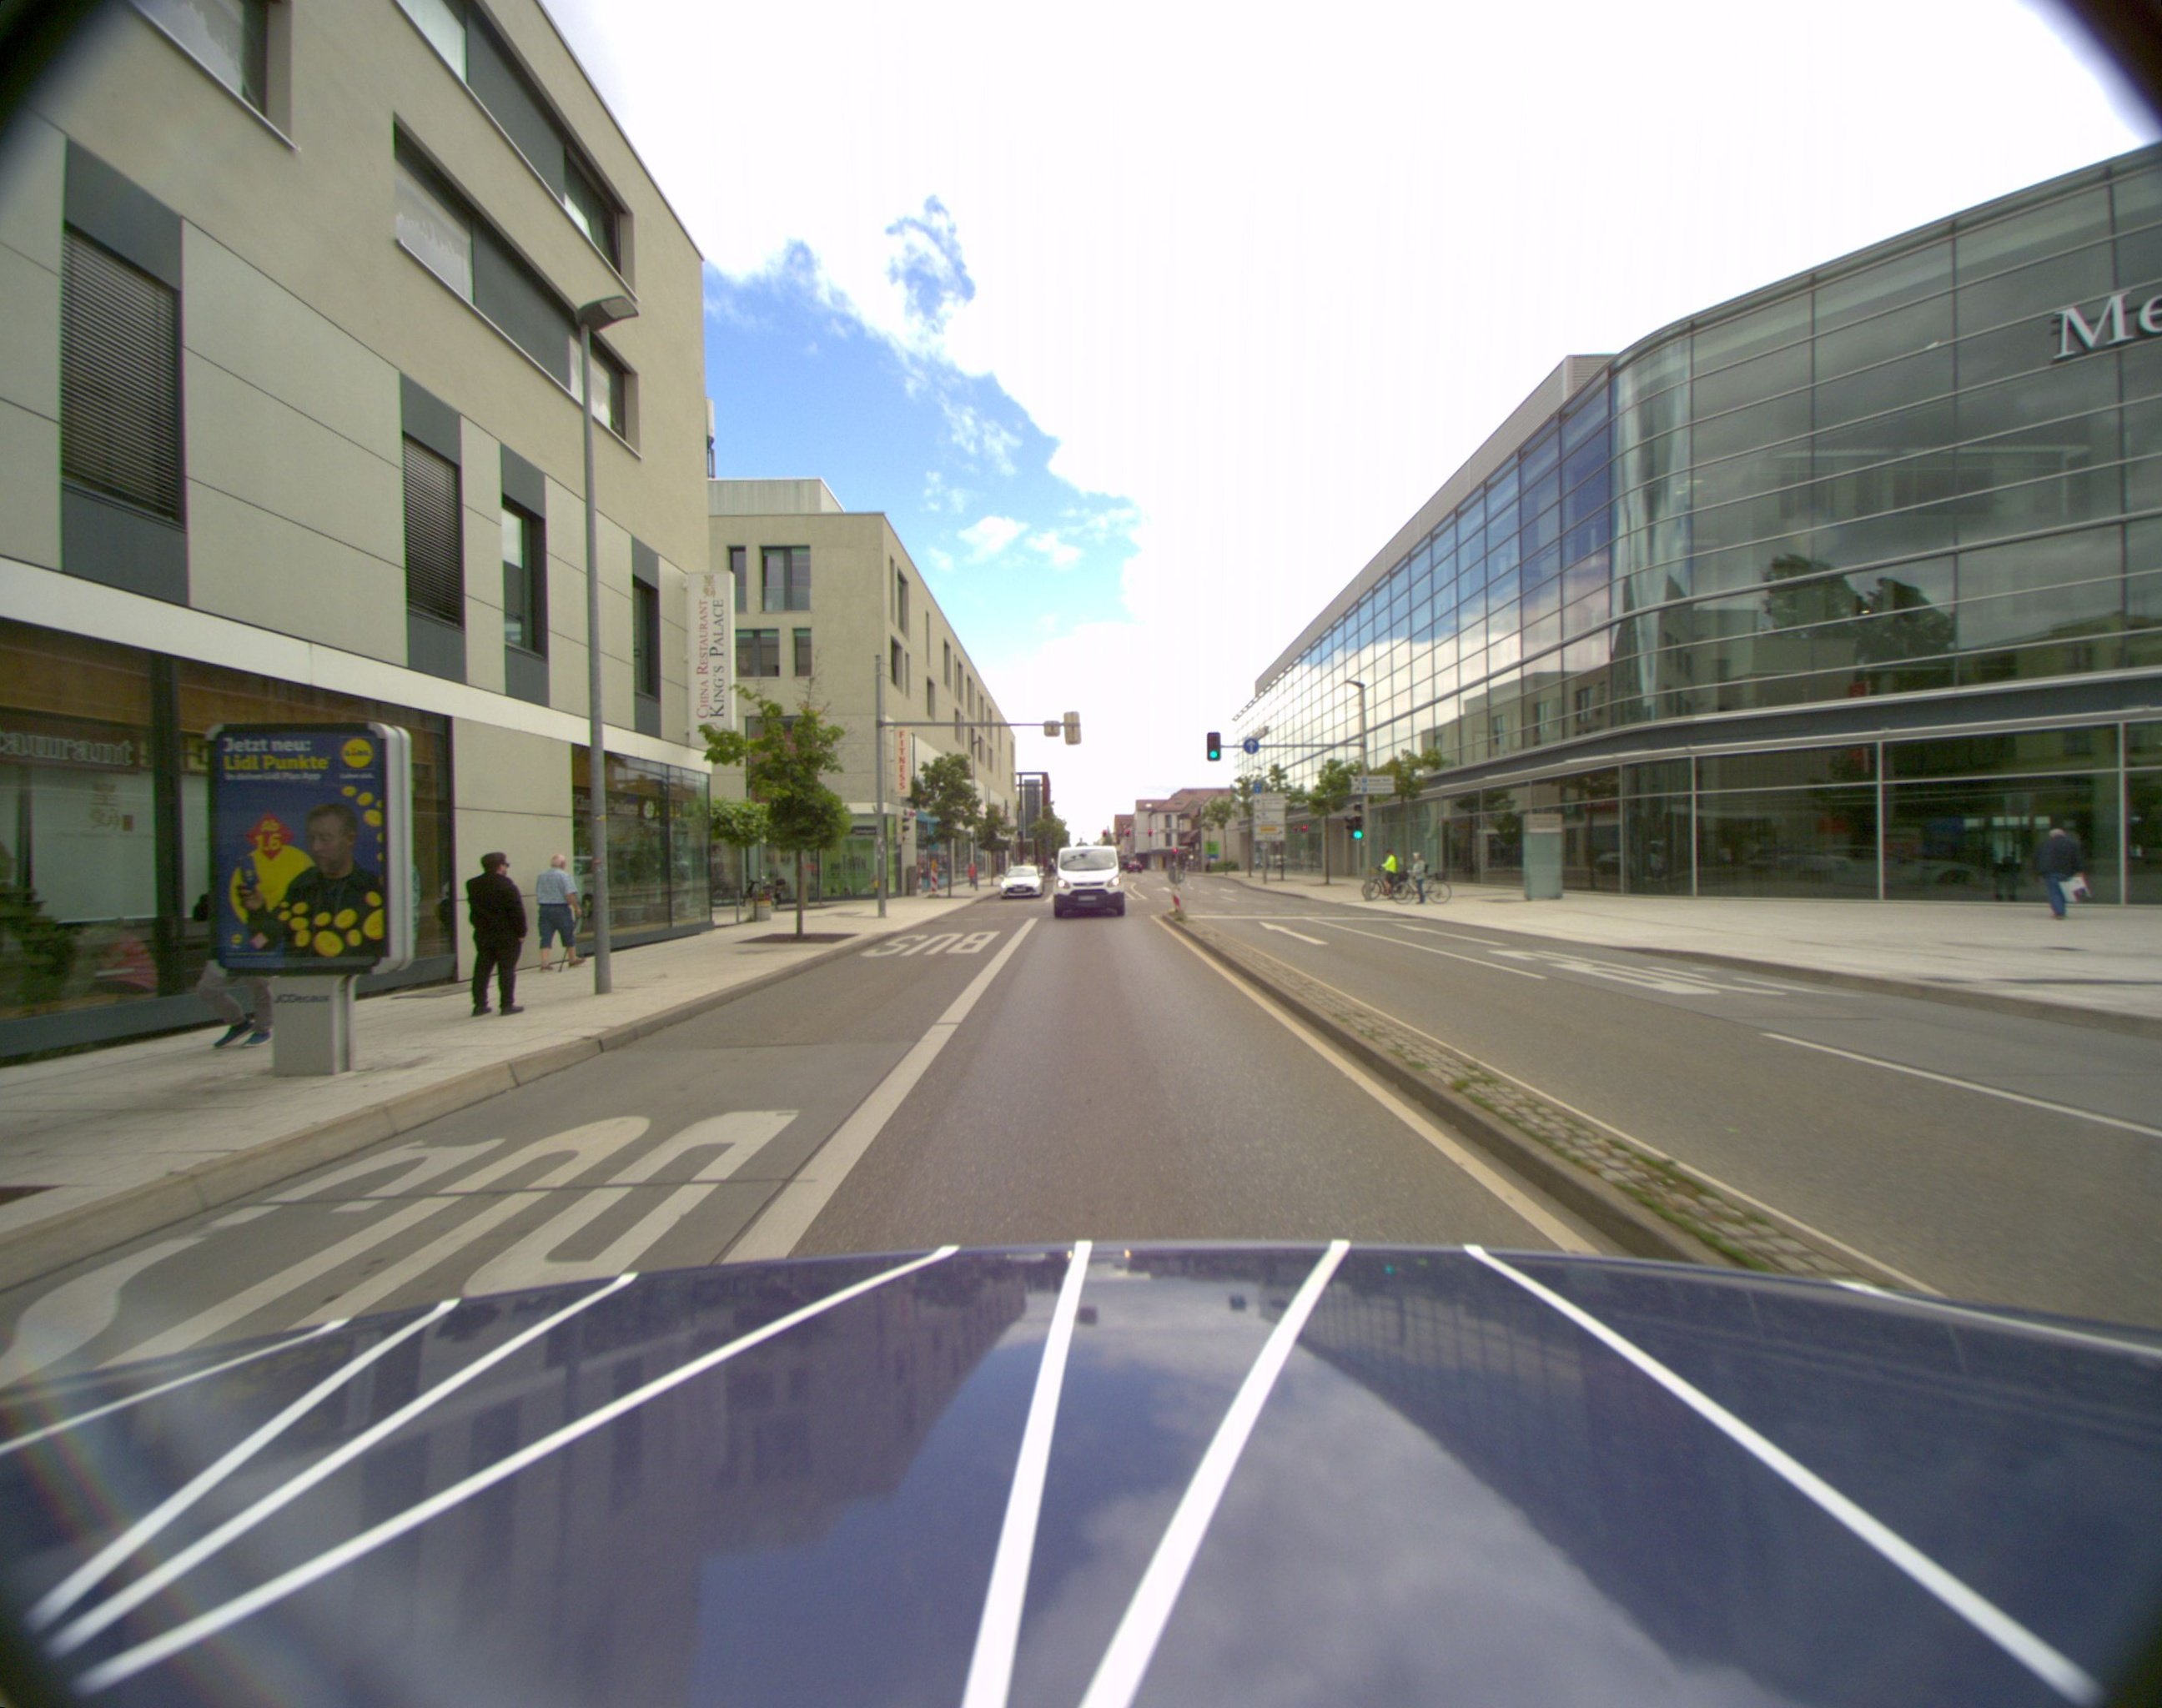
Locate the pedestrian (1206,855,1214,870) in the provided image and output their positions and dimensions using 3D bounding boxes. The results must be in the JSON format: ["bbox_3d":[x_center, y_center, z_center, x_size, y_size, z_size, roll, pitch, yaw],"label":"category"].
[{"bbox_3d":[14.146,0.946,83.368,0.702,1.614,0.693,-1,0,0],"label":"pedestrian"}]

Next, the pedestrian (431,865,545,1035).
[{"bbox_3d":[-6.051,0.949,7.785,0.656,1.659,0.614,-1,0,1],"label":"pedestrian"}]

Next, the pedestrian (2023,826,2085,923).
[{"bbox_3d":[20.065,0.402,15.681,0.904,1.934,0.748,-2,1,-38],"label":"pedestrian"}]

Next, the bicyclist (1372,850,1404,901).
[{"bbox_3d":[11.111,0.761,27.505,0.772,1.789,0.749,-3,0,45],"label":"bicyclist"}]

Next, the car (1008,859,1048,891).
[{"bbox_3d":[-2.828,1.114,41.602,1.741,1.533,4.790,-3,0,0],"label":"car"}]

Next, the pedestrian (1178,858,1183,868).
[{"bbox_3d":[14.507,1.309,110.576,0.555,1.507,0.582,-1,0,-32],"label":"pedestrian"}]

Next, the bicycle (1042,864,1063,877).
[{"bbox_3d":[-2.508,1.399,66.390,1.745,1.093,0.561,1,0,-7],"label":"bicycle"}]

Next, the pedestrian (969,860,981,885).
[{"bbox_3d":[-6.602,1.143,47.281,0.590,1.558,0.732,1,0,0],"label":"pedestrian"}]

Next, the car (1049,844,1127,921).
[{"bbox_3d":[0.199,0.756,22.825,2.000,1.976,5.000,-3,0,0],"label":"car"}]

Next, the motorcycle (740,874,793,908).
[{"bbox_3d":[-12.910,1.505,31.245,1.844,1.251,0.593,-3,3,-2],"label":"motorcycle"}]

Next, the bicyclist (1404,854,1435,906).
[{"bbox_3d":[10.949,0.839,24.593,0.783,1.639,0.639,-3,0,16],"label":"bicyclist"}]

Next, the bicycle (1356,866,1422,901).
[{"bbox_3d":[11.142,1.065,27.522,2.025,1.199,0.749,-3,0,45],"label":"bicycle"}]

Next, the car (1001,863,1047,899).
[{"bbox_3d":[-2.571,1.198,35.214,1.787,1.417,4.514,-2,0,-1],"label":"car"}]

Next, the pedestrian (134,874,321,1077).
[{"bbox_3d":[-7.182,0.984,6.434,0.742,1.599,0.715,-1,0,1],"label":"pedestrian"}]

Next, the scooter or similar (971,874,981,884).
[{"bbox_3d":[-6.633,1.577,48.058,0.552,0.630,0.767,1,0,0],"label":"scooter or similar"}]

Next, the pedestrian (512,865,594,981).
[{"bbox_3d":[-7.785,1.000,11.227,0.746,1.659,0.614,-1,0,1],"label":"pedestrian"}]

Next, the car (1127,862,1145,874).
[{"bbox_3d":[7.097,1.799,98.721,1.803,1.458,3.999,0,0,-3],"label":"car"}]

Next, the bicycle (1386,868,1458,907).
[{"bbox_3d":[11.015,1.088,24.594,2.003,1.124,0.639,-3,0,16],"label":"bicycle"}]
